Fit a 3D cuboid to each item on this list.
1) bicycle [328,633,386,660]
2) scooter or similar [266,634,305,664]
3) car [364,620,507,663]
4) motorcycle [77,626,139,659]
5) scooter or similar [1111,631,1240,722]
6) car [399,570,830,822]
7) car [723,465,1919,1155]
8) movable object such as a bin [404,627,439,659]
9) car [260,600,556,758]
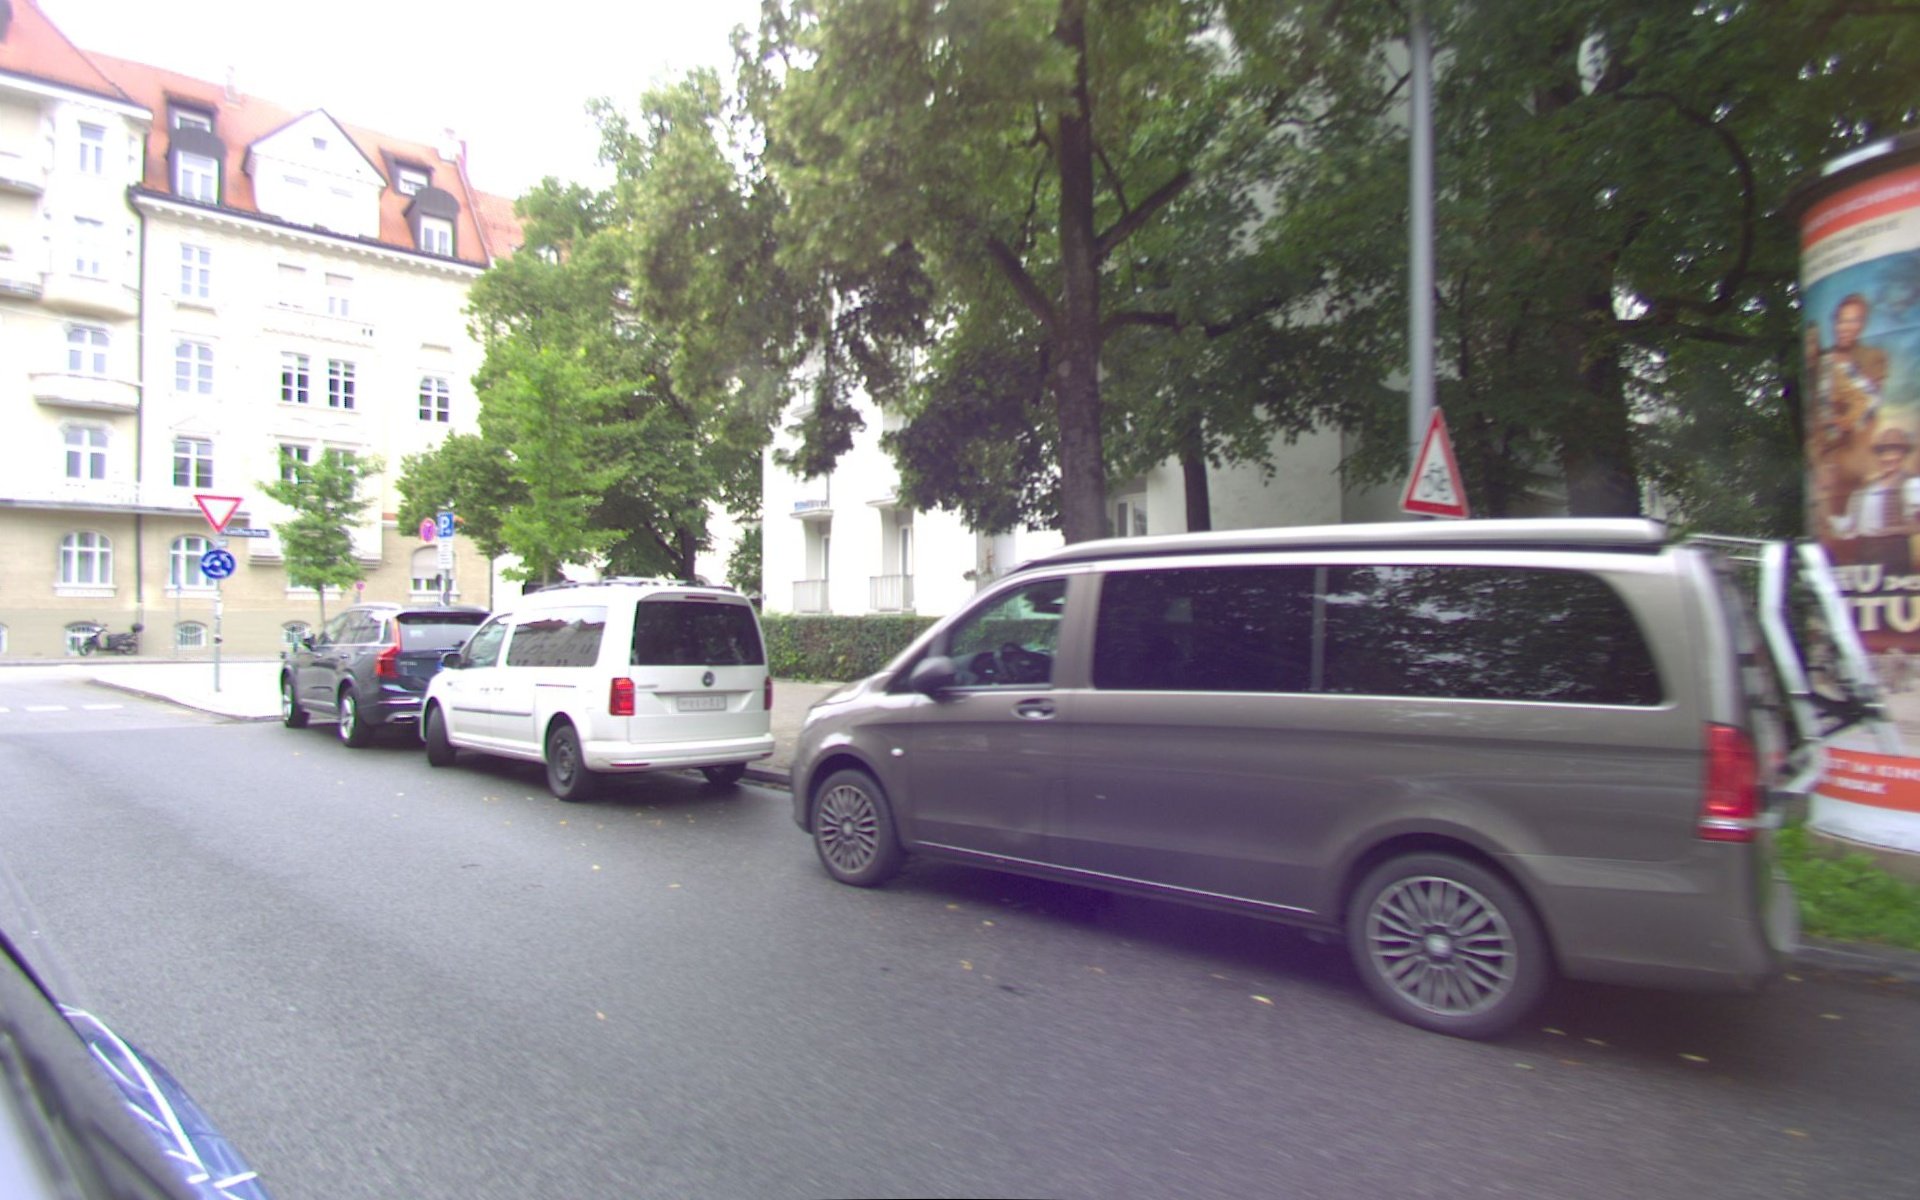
[{"bbox_3d":[-24.927,1.910,41.888,0.653,1.077,1.949,-2,-2,40],"label":"bicycle"},{"bbox_3d":[-25.941,1.874,38.924,0.535,1.117,1.345,0,-2,4],"label":"scooter or similar"},{"bbox_3d":[-21.767,1.702,42.135,4.914,1.688,2.002,2,-2,-43],"label":"car"},{"bbox_3d":[-32.175,1.591,38.209,0.743,1.195,1.720,-2,-2,45],"label":"motorcycle"},{"bbox_3d":[3.029,1.047,14.299,1.657,1.200,0.694,-1,-2,41],"label":"scooter or similar"},{"bbox_3d":[-3.658,0.793,10.171,4.859,1.918,2.061,-1,-2,43],"label":"car"},{"bbox_3d":[1.303,0.663,5.358,5.663,1.922,2.005,-1,-3,41],"label":"car"},{"bbox_3d":[-24.081,1.904,45.261,1.162,1.381,1.150,1,-2,-40],"label":"movable object such as a bin"},{"bbox_3d":[-7.633,0.928,13.689,5.307,1.732,2.060,-1,-2,45],"label":"car"}]
